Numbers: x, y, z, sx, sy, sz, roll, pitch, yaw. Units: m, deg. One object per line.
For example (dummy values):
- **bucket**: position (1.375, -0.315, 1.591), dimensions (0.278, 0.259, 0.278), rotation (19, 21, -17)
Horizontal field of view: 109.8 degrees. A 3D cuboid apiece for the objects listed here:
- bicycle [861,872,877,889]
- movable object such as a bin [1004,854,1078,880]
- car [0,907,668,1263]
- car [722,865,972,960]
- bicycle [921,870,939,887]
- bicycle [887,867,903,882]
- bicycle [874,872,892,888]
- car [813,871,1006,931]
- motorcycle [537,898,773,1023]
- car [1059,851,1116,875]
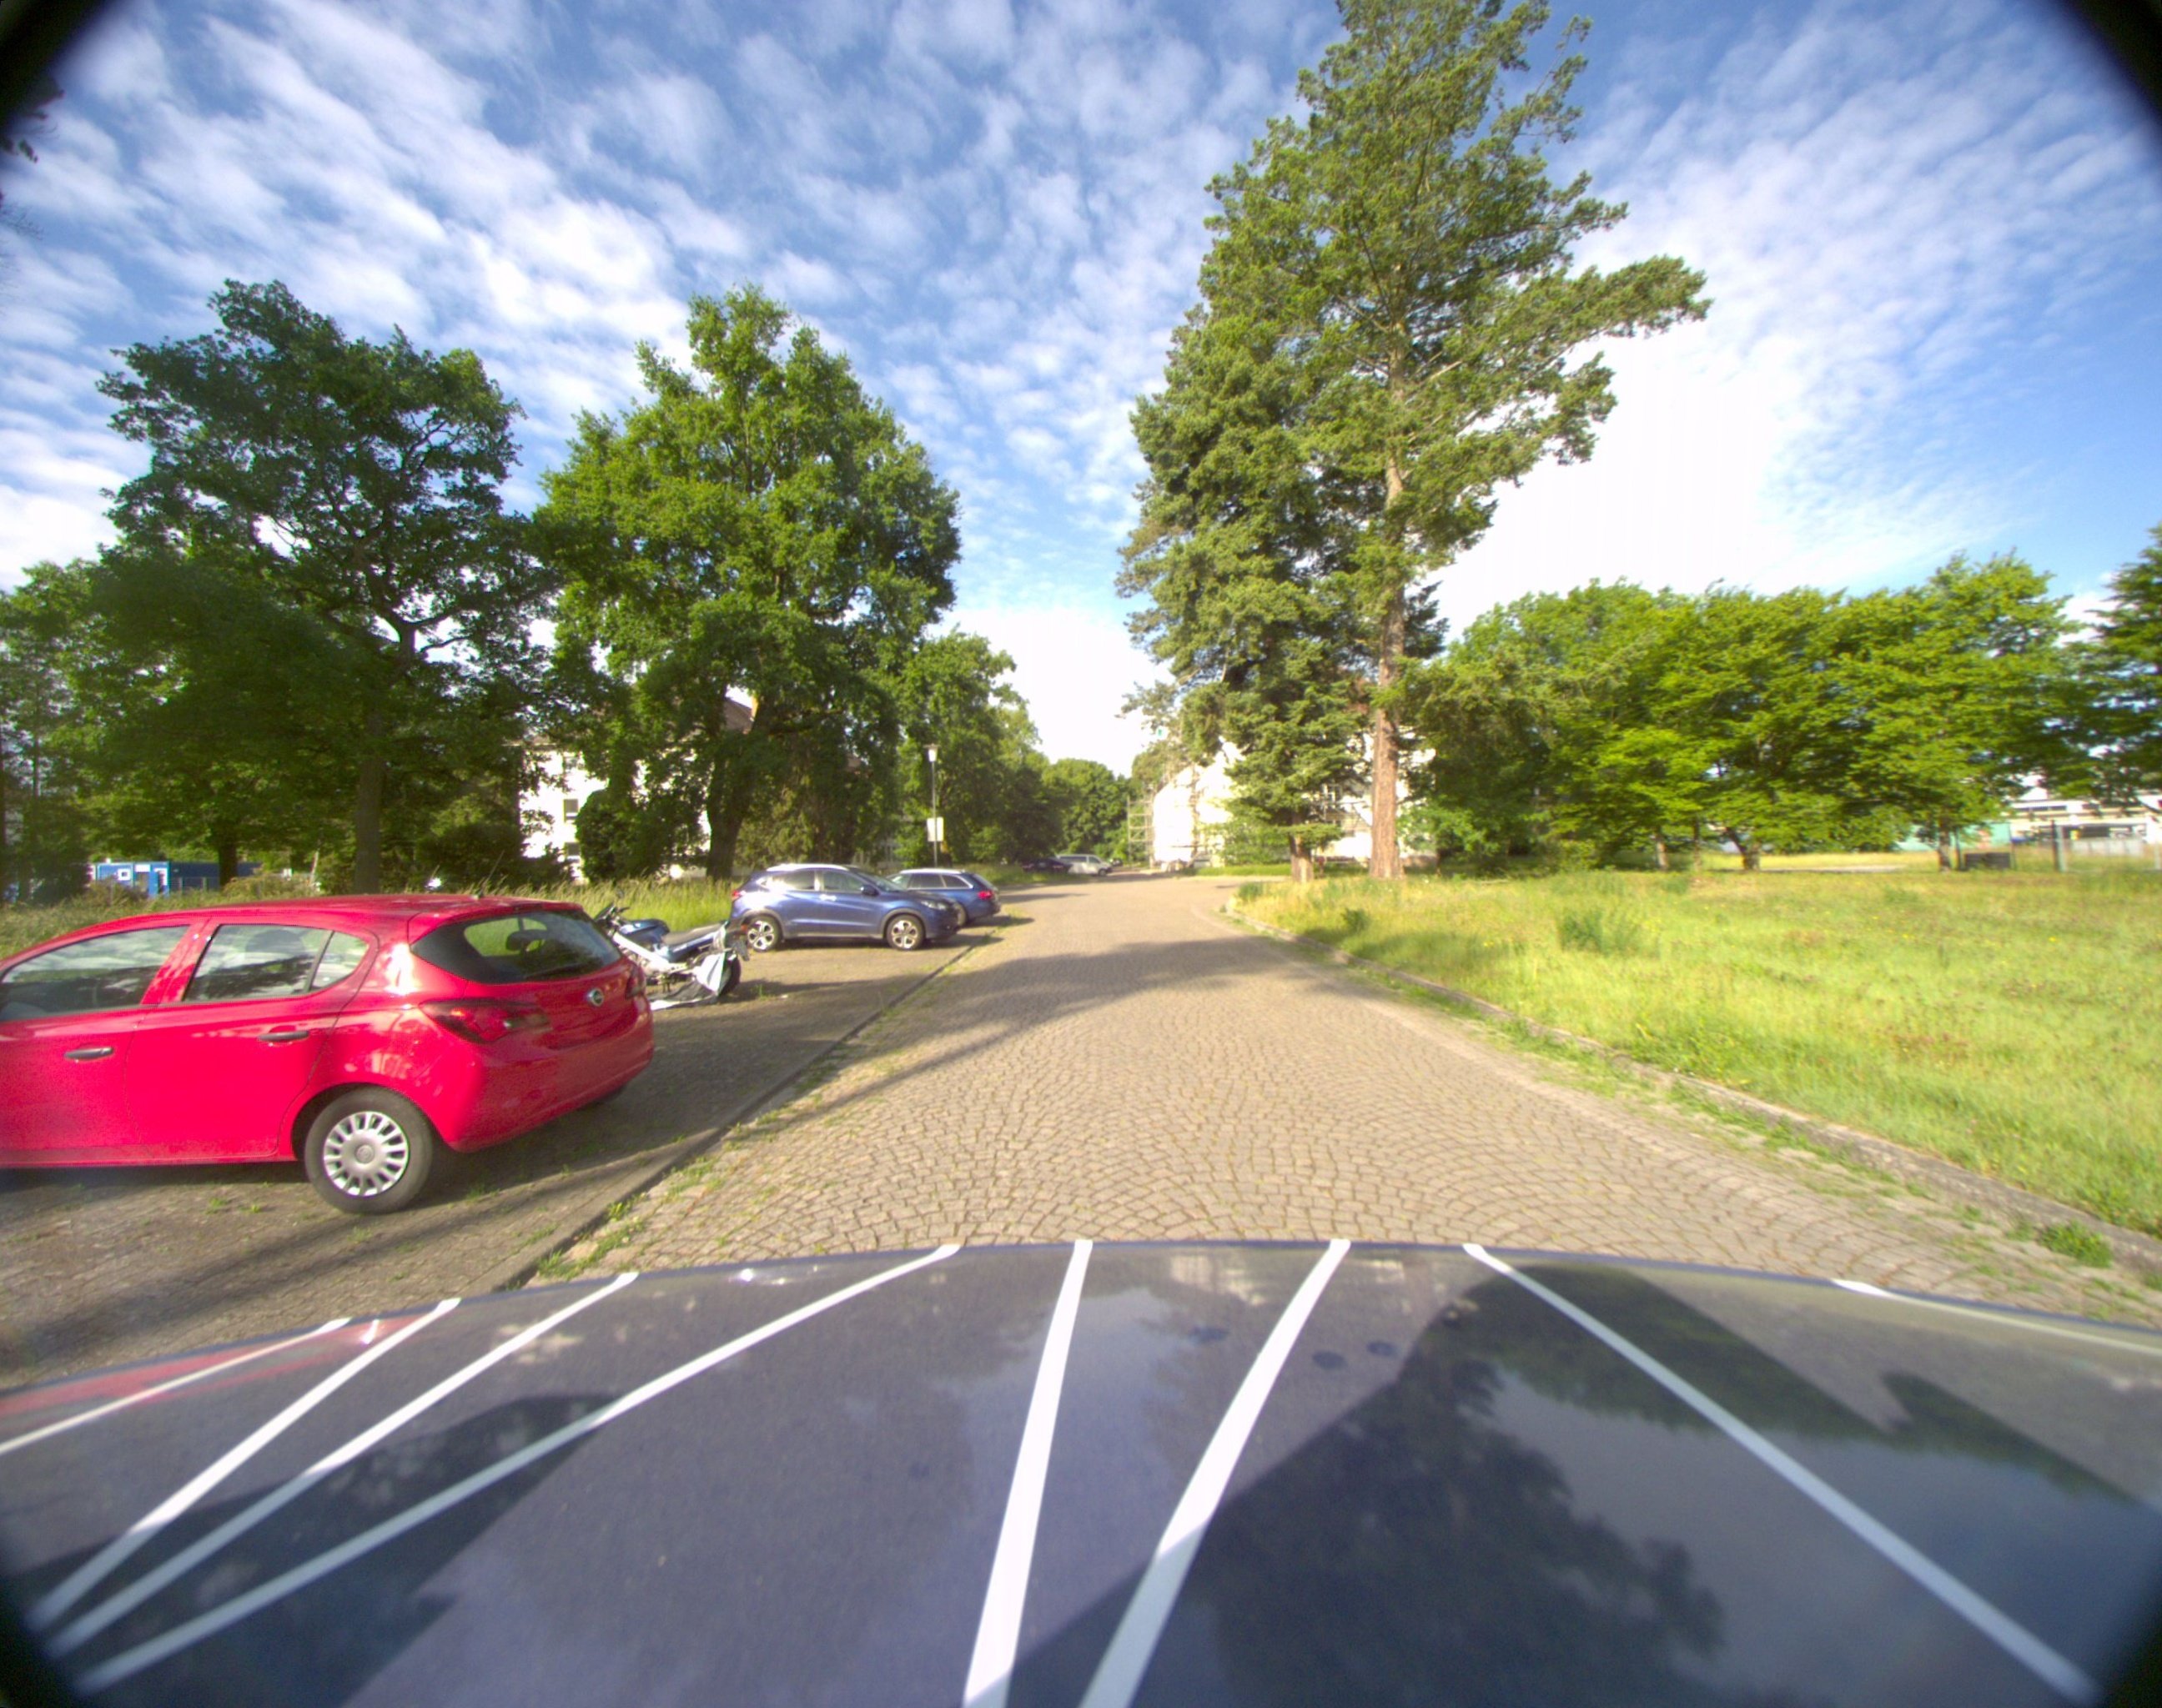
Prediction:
- **bicycle**: position (-13.439, 1.687, 48.231), dimensions (0.619, 1.010, 1.027), rotation (-1, 0, 4)
- **movable object such as a bin**: position (-2.866, 0.956, 55.077), dimensions (4.931, 1.749, 2.002), rotation (-1, 0, 15)
- **car**: position (-4.679, 1.105, 4.228), dimensions (3.837, 1.470, 1.645), rotation (-1, 0, 0)
- **car**: position (-4.329, 1.064, 14.531), dimensions (4.187, 1.581, 1.751), rotation (-1, 0, 0)
- **bicycle**: position (-9.536, 1.524, 47.886), dimensions (0.710, 1.010, 1.257), rotation (-1, 0, 8)
- **bicycle**: position (-12.911, 1.413, 52.713), dimensions (0.712, 1.010, 1.024), rotation (-2, 0, -37)
- **bicycle**: position (-12.671, 1.665, 48.596), dimensions (0.710, 1.010, 1.028), rotation (-1, 0, 8)
- **car**: position (-4.239, 1.157, 19.222), dimensions (4.459, 1.399, 1.714), rotation (0, 0, 3)
- **motorcycle**: position (-4.871, 1.203, 8.789), dimensions (2.305, 1.312, 0.726), rotation (-1, 0, 0)
- **car**: position (0.573, 0.811, 68.021), dimensions (4.936, 2.002, 2.000), rotation (-1, 0, 1)
